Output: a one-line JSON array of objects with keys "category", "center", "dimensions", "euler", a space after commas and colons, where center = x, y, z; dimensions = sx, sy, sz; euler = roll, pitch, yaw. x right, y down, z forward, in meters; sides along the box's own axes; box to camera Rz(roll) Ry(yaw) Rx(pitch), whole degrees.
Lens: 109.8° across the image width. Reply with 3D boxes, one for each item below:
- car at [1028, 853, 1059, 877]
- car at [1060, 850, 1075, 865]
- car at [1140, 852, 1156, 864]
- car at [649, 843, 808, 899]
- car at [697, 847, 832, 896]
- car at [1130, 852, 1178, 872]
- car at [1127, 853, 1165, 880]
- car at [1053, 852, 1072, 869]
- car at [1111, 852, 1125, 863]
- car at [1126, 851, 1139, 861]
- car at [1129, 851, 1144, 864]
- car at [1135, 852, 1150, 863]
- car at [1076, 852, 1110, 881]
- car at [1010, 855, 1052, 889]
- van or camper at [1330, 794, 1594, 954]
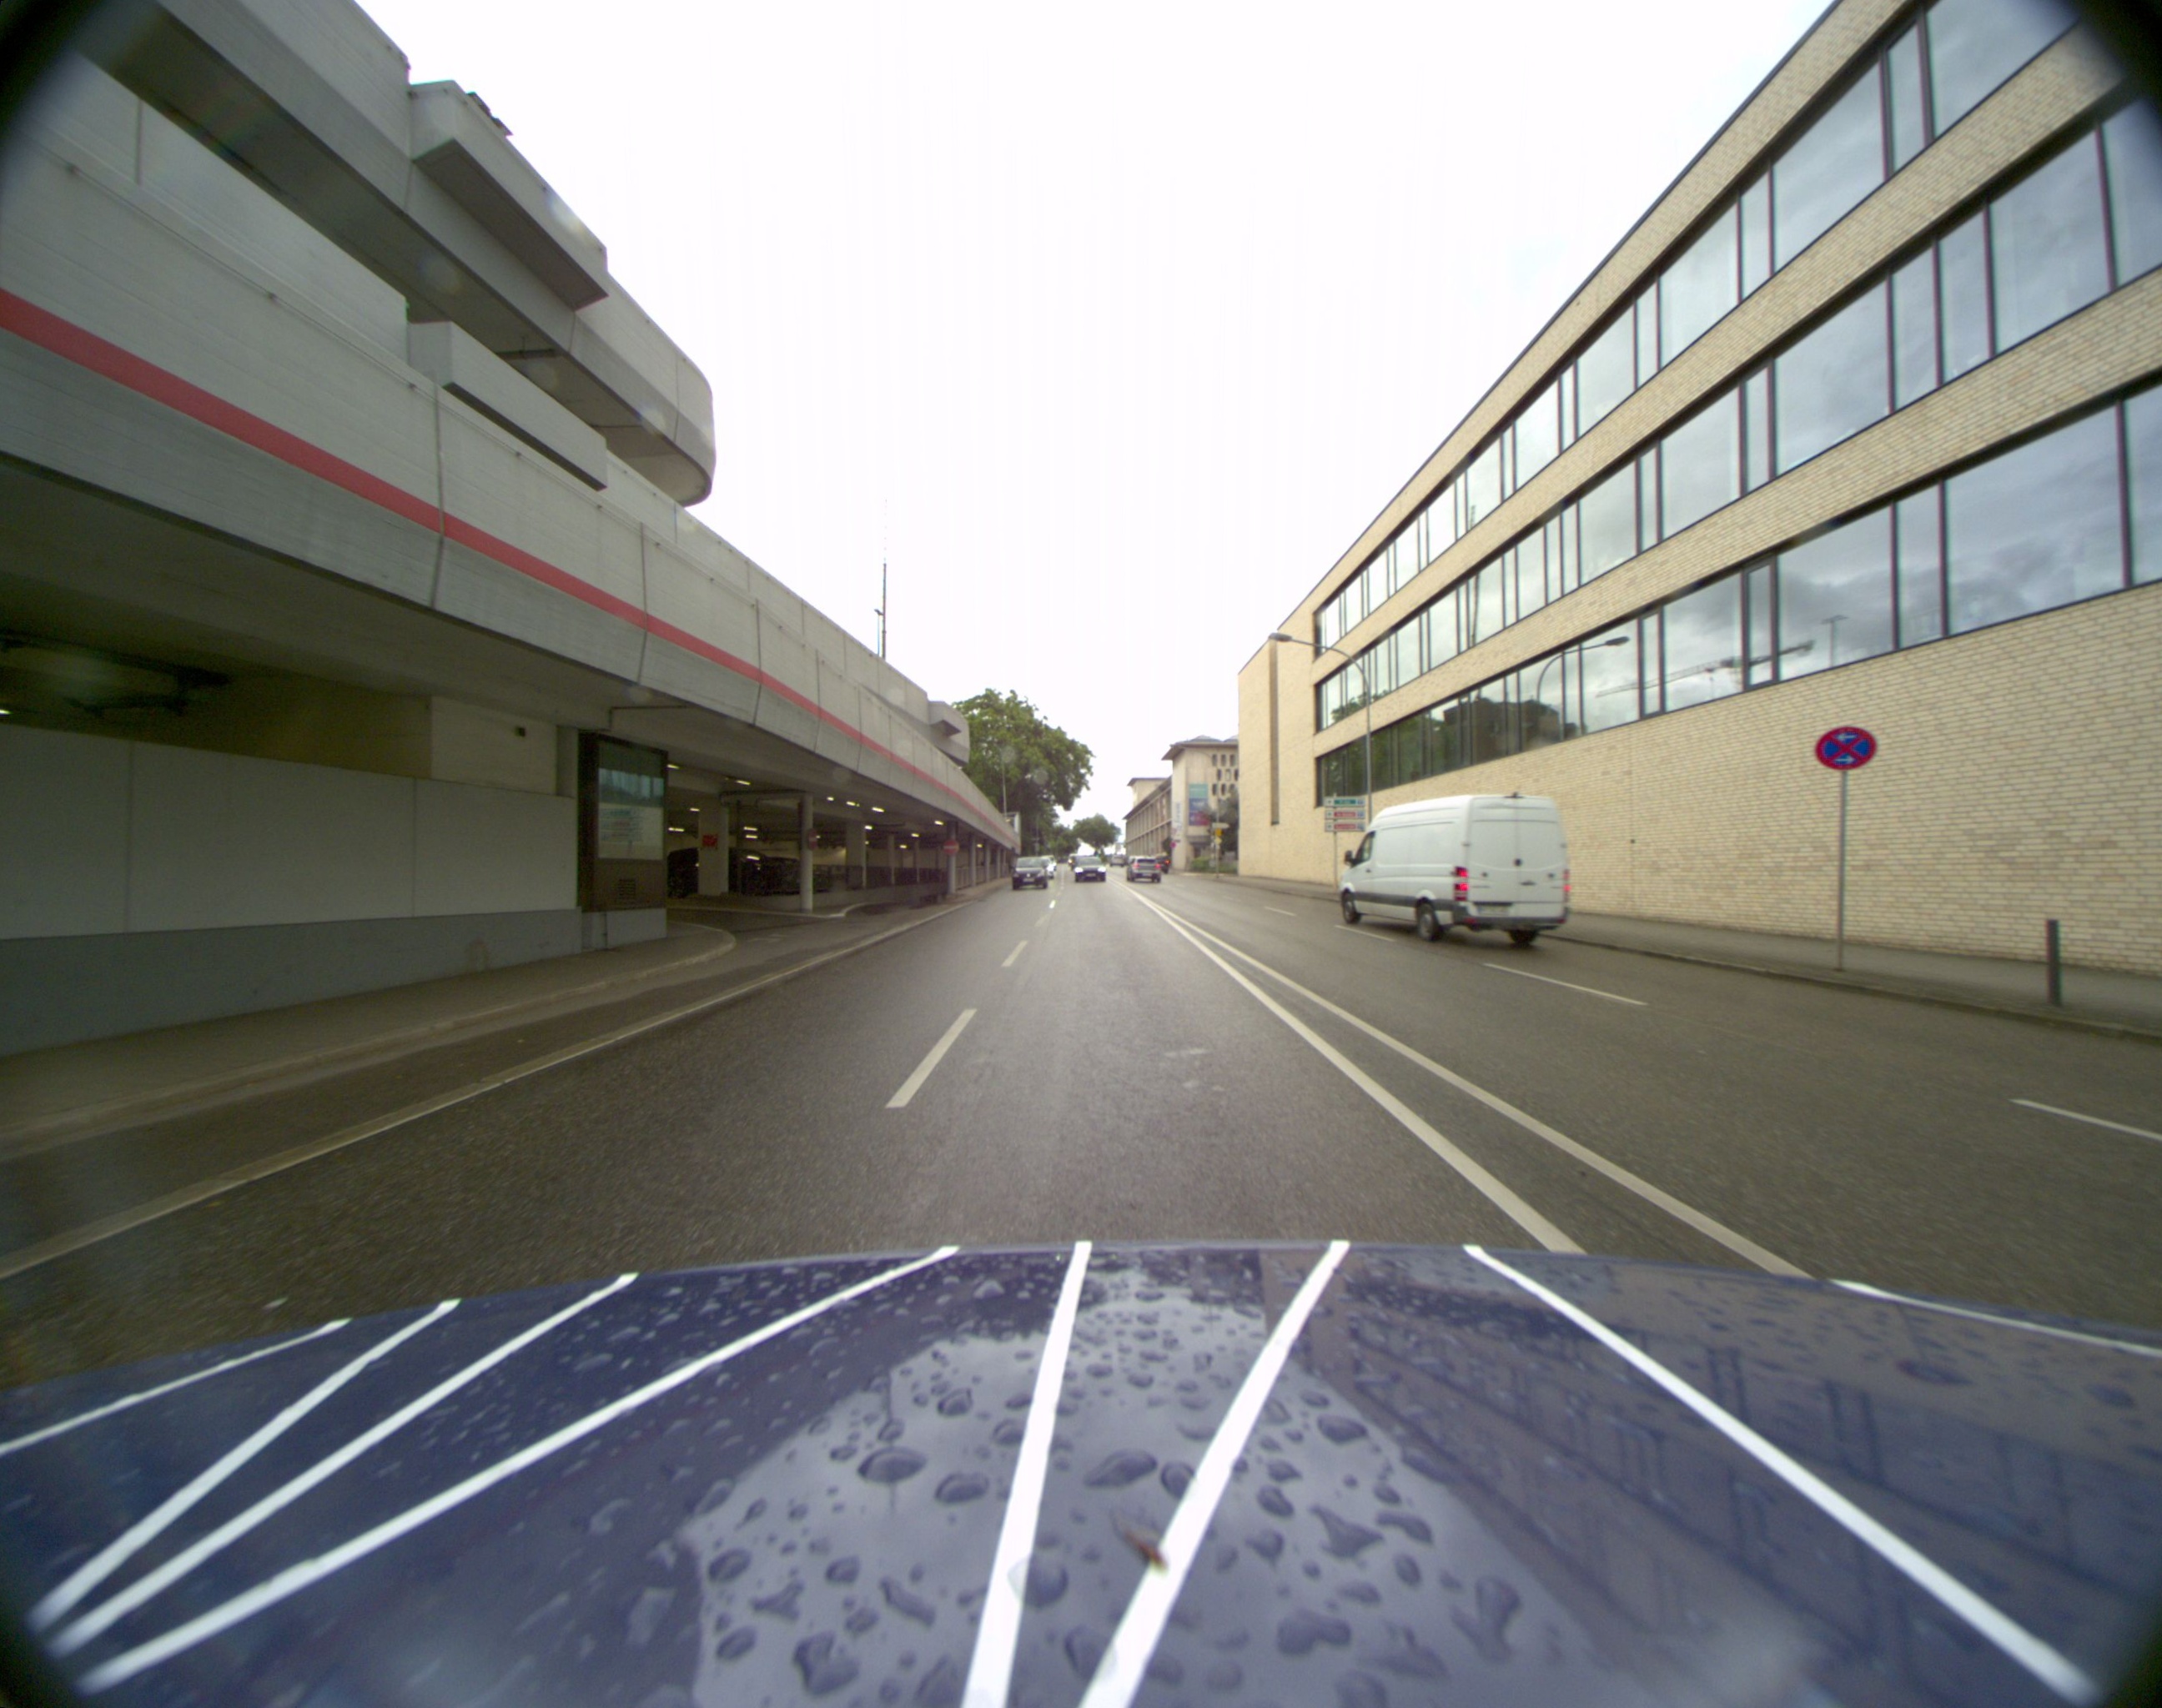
[{"category": "car", "center": [-2.552, 0.734, 53.077], "dimensions": [1.915, 1.443, 4.036], "euler": [-2, 1, 0]}, {"category": "car", "center": [-1.919, 0.530, 107.698], "dimensions": [1.998, 2.002, 3.999], "euler": [-2, 1, 0]}, {"category": "car", "center": [8.952, 0.519, 101.756], "dimensions": [1.800, 1.516, 4.056], "euler": [-2, 0, 1]}, {"category": "car", "center": [-11.319, 0.590, 24.538], "dimensions": [4.251, 1.650, 2.003], "euler": [-1, -4, 10]}, {"category": "car", "center": [-11.849, 0.699, 28.563], "dimensions": [4.251, 1.650, 2.003], "euler": [-1, -4, 10]}, {"category": "car", "center": [6.531, 0.722, 68.204], "dimensions": [3.989, 1.652, 1.865], "euler": [-1, 1, 44]}, {"category": "car", "center": [3.735, 0.708, 44.281], "dimensions": [1.745, 1.461, 3.881], "euler": [1, 0, -1]}, {"category": "car", "center": [-1.961, 0.694, 81.212], "dimensions": [1.727, 1.628, 3.999], "euler": [-2, 1, 1]}, {"category": "car", "center": [5.344, 0.553, 109.244], "dimensions": [1.800, 1.516, 4.056], "euler": [-2, 0, 1]}, {"category": "car", "center": [8.618, 0.304, 126.937], "dimensions": [1.800, 1.516, 4.056], "euler": [-2, 0, 1]}, {"category": "car", "center": [8.638, 0.549, 118.630], "dimensions": [1.998, 1.819, 3.999], "euler": [-2, 1, 0]}, {"category": "car", "center": [8.674, 0.504, 107.440], "dimensions": [1.800, 1.516, 4.056], "euler": [-2, 0, 1]}, {"category": "car", "center": [0.705, 0.694, 44.061], "dimensions": [1.852, 1.516, 3.990], "euler": [-2, 0, 1]}, {"category": "car", "center": [-2.399, 0.852, 37.235], "dimensions": [1.683, 1.516, 3.990], "euler": [-2, 0, 1]}, {"category": "van or camper", "center": [7.154, 0.311, 15.276], "dimensions": [2.107, 2.567, 5.906], "euler": [1, 0, -2]}]
